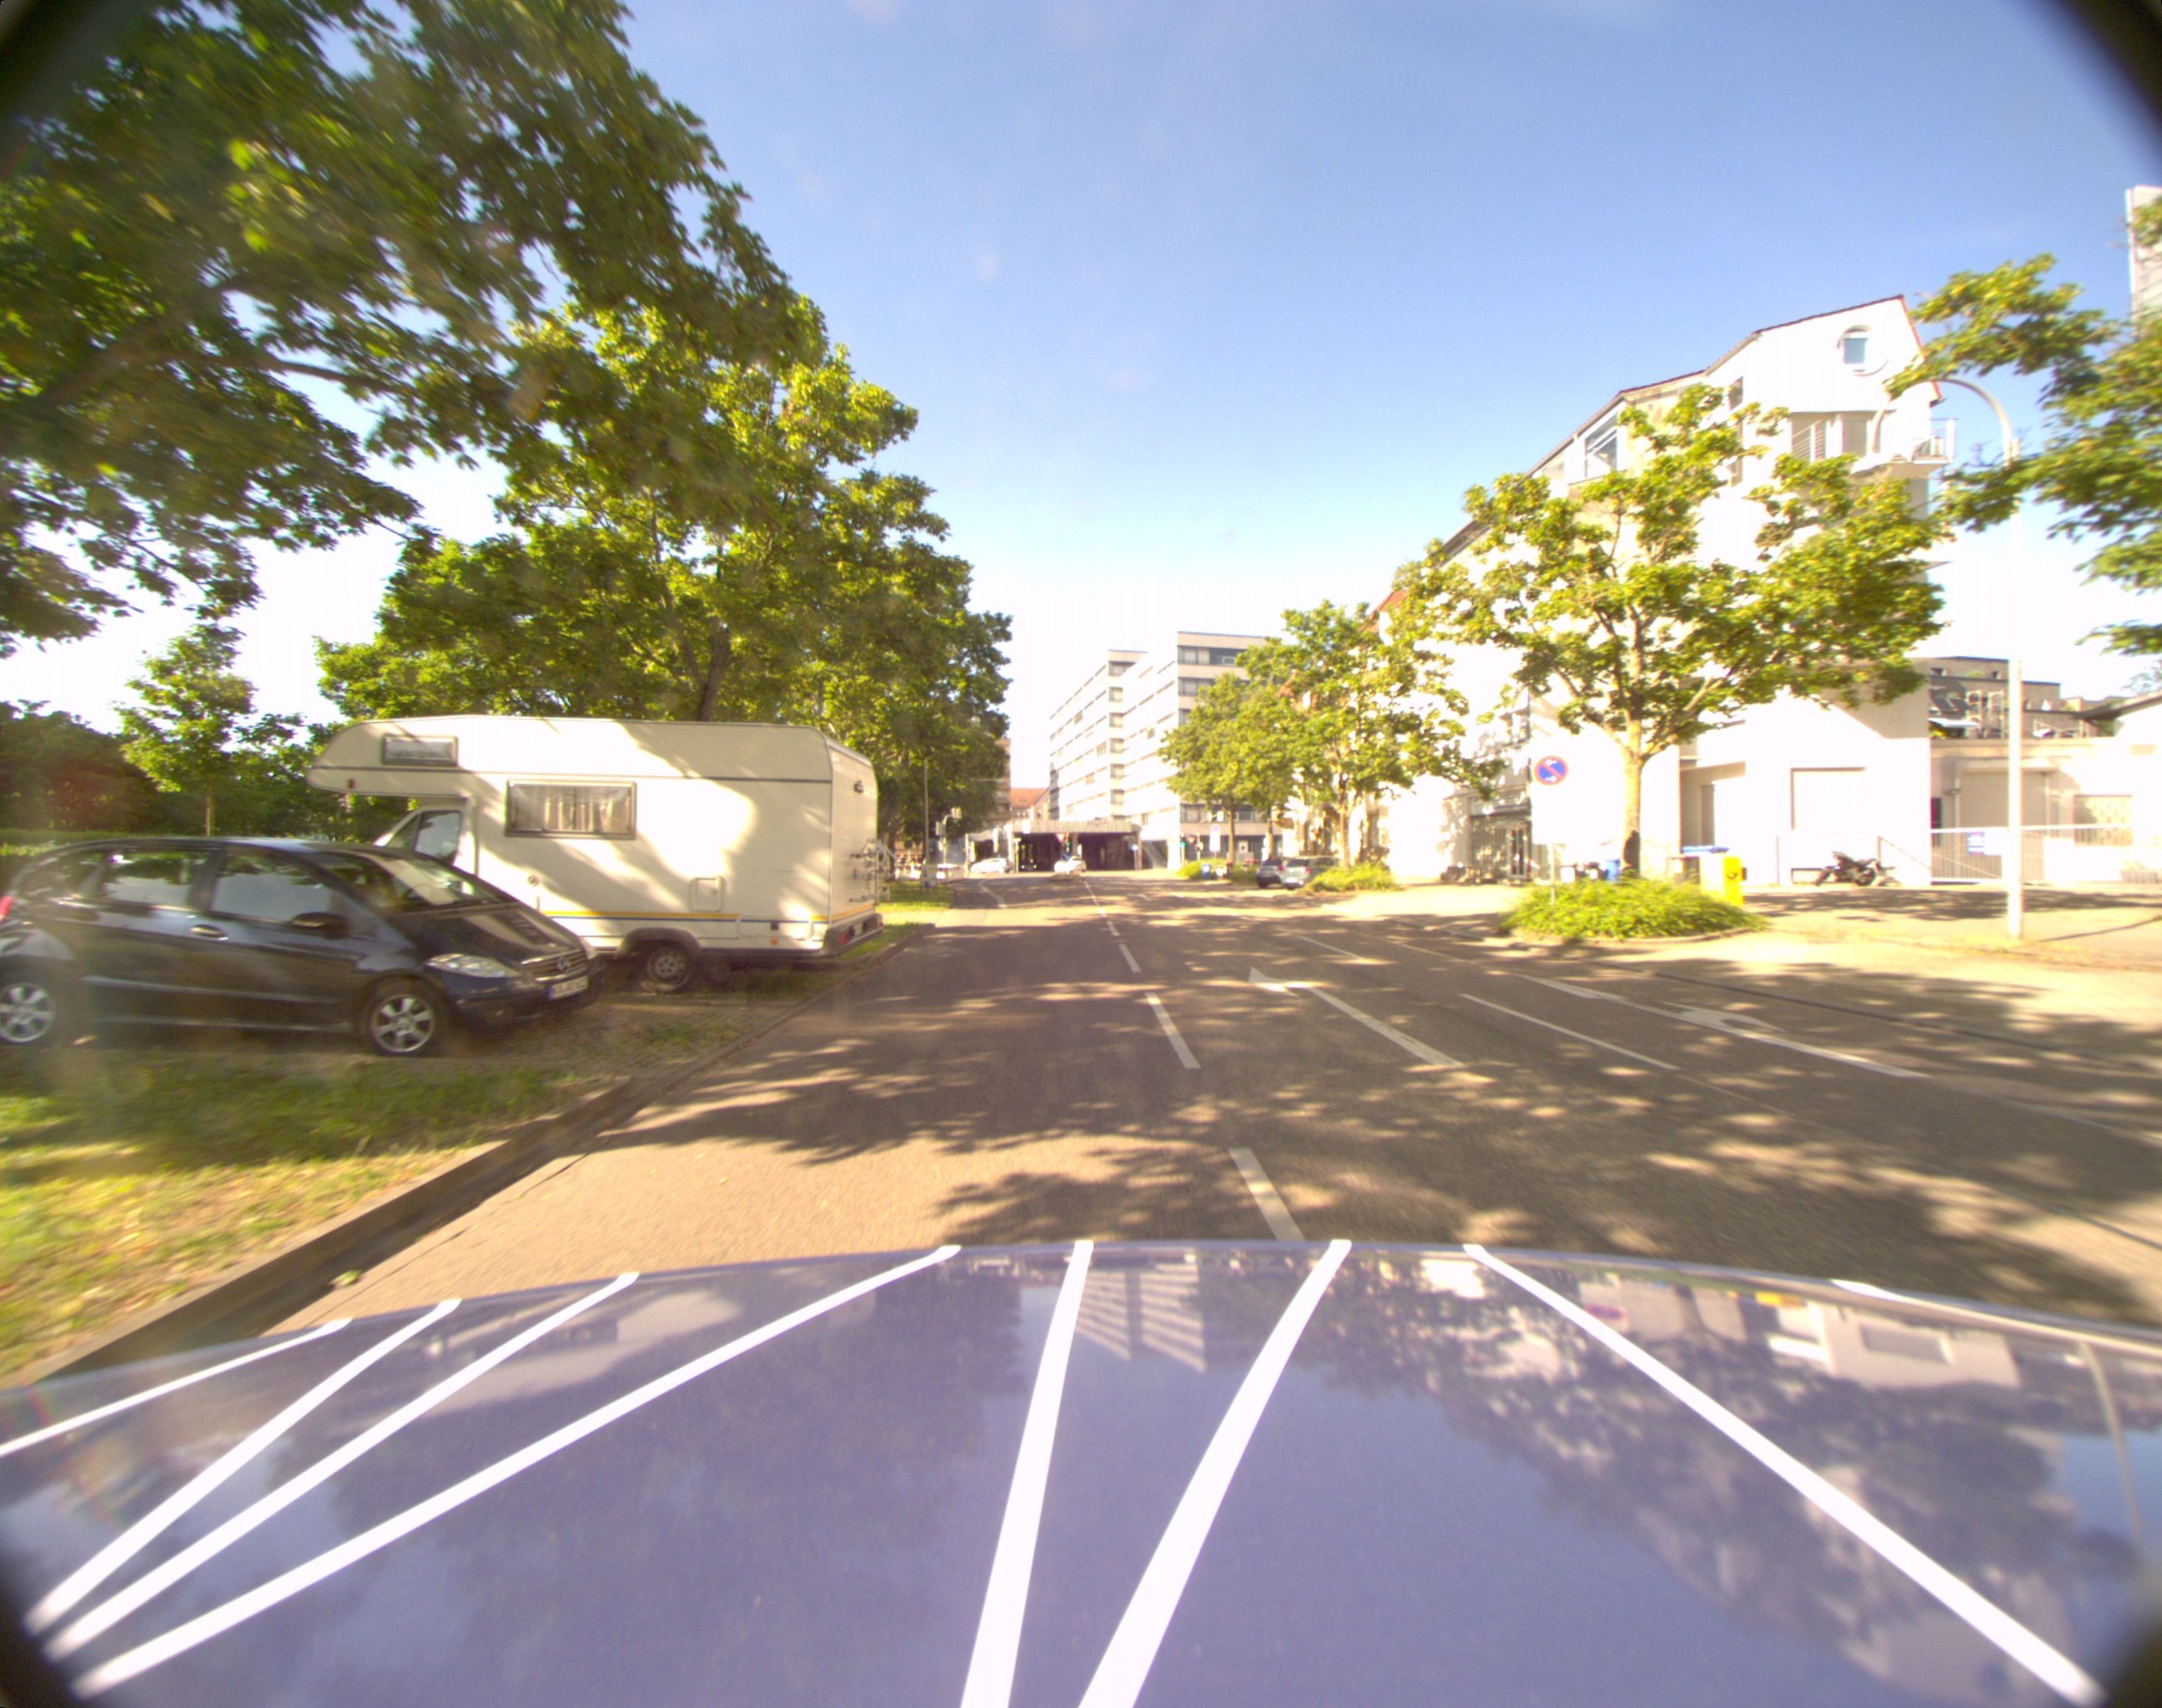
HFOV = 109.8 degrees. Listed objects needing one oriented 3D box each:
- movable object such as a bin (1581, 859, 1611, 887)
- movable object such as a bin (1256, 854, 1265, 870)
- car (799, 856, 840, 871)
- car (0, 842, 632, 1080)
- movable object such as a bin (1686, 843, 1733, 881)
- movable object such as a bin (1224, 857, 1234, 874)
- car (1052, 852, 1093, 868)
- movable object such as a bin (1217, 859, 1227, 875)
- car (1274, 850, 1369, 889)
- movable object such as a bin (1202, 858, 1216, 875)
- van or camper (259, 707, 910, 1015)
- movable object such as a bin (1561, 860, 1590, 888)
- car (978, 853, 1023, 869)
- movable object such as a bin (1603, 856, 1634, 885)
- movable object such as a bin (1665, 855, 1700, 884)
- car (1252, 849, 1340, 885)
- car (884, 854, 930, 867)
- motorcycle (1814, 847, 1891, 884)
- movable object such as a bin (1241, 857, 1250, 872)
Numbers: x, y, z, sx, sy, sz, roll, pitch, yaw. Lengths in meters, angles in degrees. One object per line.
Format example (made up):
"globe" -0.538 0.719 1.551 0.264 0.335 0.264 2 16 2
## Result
"movable object such as a bin" 17.516 0.649 25.845 0.622 0.922 0.575 0 1 -5
"movable object such as a bin" 12.103 0.515 51.160 0.476 1.055 0.551 0 1 24
"car" -28.769 1.029 83.644 3.751 1.545 1.931 0 1 8
"car" -6.349 0.759 6.219 4.161 1.537 1.858 2 0 -3
"movable object such as a bin" 21.394 0.257 25.890 0.622 1.272 1.120 0 1 -5
"movable object such as a bin" 9.321 0.698 47.832 0.476 1.035 0.543 -2 2 24
"car" -0.823 0.530 72.136 1.933 1.443 3.746 -1 1 -40
"movable object such as a bin" 8.729 0.820 47.066 0.476 0.954 0.543 -2 1 21
"car" 10.405 0.625 32.745 4.006 1.456 1.806 -3 1 -35
"movable object such as a bin" 8.013 0.766 47.390 0.675 1.067 0.803 0 1 24
"van or camper" -5.387 0.091 9.181 5.998 2.967 2.670 2 1 -2
"movable object such as a bin" 16.793 0.674 25.804 0.622 0.922 0.575 0 1 -5
"car" -8.105 0.680 76.563 4.062 1.545 1.932 0 1 16
"movable object such as a bin" 18.307 0.562 25.883 0.622 0.967 0.575 0 1 -5
"movable object such as a bin" 20.378 0.514 25.738 0.622 0.967 0.690 0 1 -5
"car" 10.113 0.590 35.710 4.006 1.456 1.806 -3 1 -35
"car" -18.256 0.682 79.631 4.312 1.398 1.932 0 1 16
"motorcycle" 24.030 0.347 23.667 1.917 1.128 0.526 0 1 -2
"movable object such as a bin" 10.498 0.694 48.508 0.476 0.938 0.543 0 1 24
